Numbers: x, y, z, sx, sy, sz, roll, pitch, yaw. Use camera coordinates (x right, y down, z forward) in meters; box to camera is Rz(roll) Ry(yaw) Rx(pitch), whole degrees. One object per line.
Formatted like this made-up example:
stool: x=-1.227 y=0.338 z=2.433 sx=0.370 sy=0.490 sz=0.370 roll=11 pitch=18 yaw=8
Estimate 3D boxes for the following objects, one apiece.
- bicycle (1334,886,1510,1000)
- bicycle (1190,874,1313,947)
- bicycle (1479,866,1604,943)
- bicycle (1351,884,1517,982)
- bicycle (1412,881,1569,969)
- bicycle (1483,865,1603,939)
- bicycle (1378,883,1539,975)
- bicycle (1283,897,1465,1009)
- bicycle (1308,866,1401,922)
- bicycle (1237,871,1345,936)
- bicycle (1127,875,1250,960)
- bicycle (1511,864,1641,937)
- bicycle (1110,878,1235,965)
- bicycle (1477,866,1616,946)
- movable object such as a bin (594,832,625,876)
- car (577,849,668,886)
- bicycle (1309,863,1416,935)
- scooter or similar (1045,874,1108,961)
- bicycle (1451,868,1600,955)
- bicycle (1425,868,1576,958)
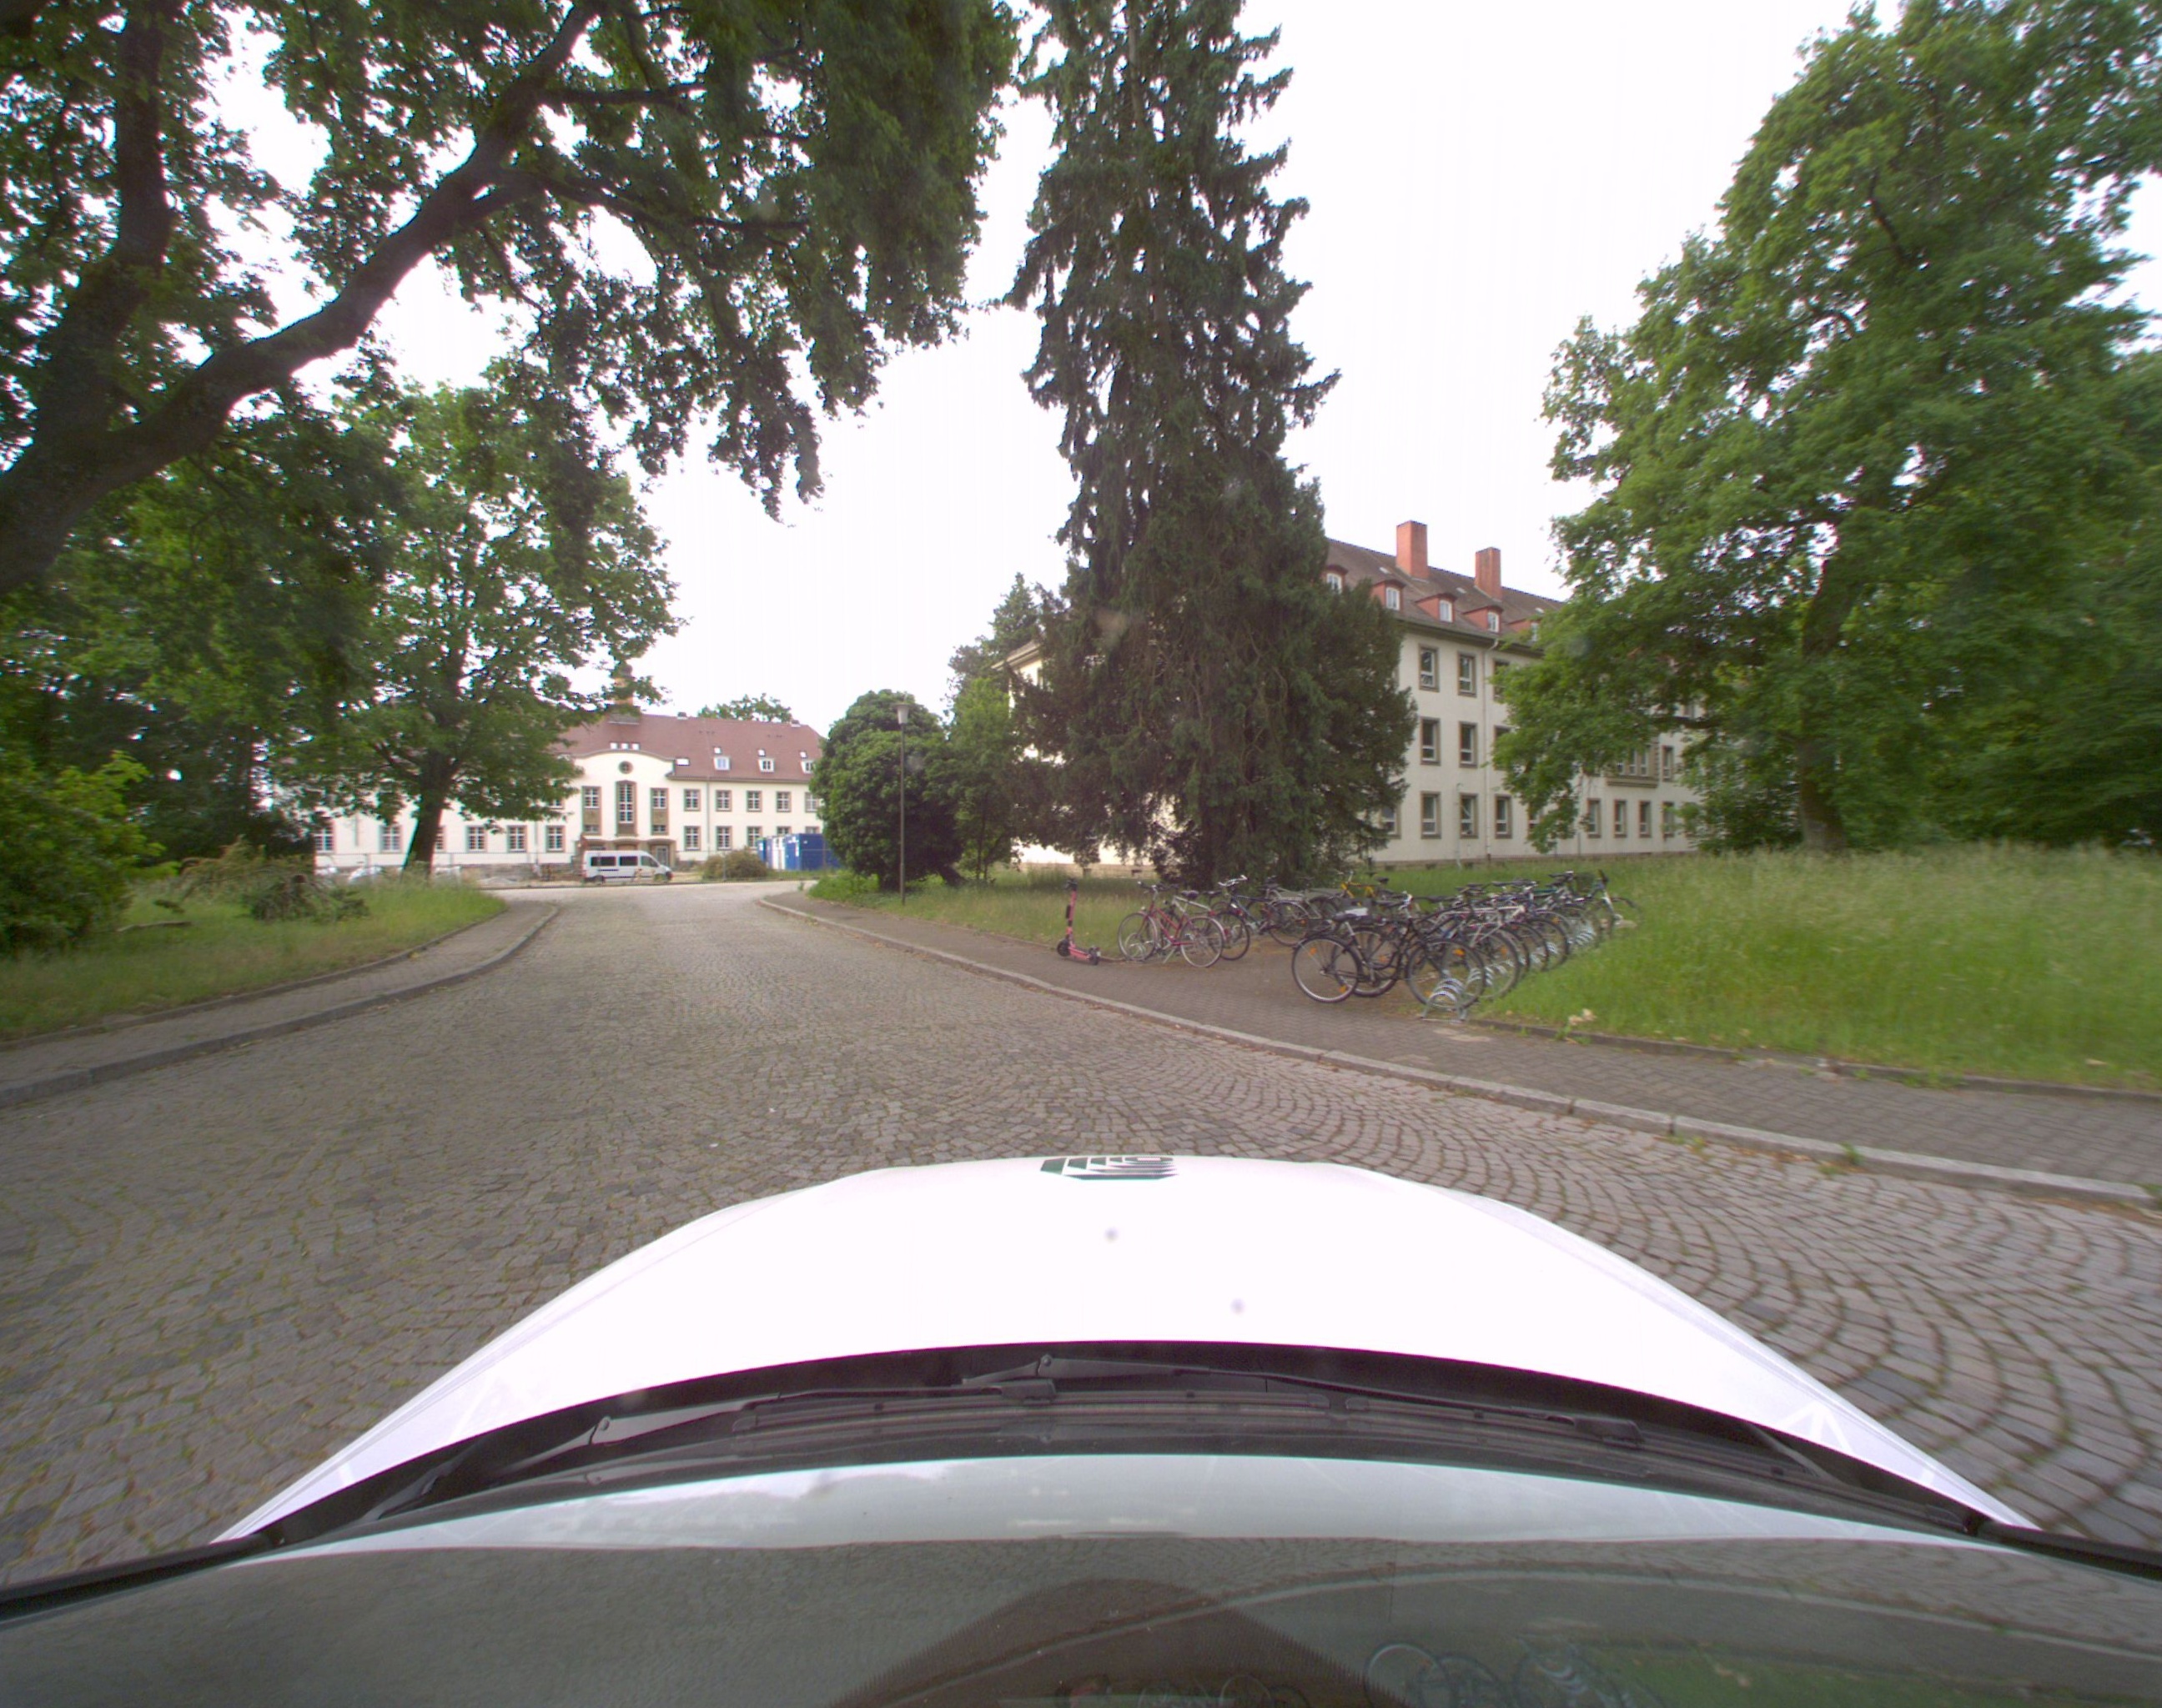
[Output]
bicycle: x=3.503 y=0.887 z=8.408 sx=1.602 sy=1.074 sz=0.480 roll=-2 pitch=-1 yaw=28
bicycle: x=2.705 y=0.867 z=13.022 sx=1.802 sy=1.065 sz=0.622 roll=-1 pitch=0 yaw=34
bicycle: x=7.144 y=0.744 z=12.688 sx=0.444 sy=1.112 sz=1.632 roll=-1 pitch=0 yaw=-41
bicycle: x=3.992 y=0.863 z=9.306 sx=1.646 sy=1.008 sz=0.480 roll=-3 pitch=-2 yaw=43
bicycle: x=5.086 y=0.852 z=10.189 sx=1.646 sy=1.008 sz=0.480 roll=-3 pitch=-2 yaw=43
bicycle: x=7.433 y=0.739 z=13.171 sx=0.444 sy=1.112 sz=1.632 roll=-1 pitch=0 yaw=-41
bicycle: x=4.463 y=0.858 z=9.717 sx=1.646 sy=1.008 sz=0.480 roll=-3 pitch=-2 yaw=43
bicycle: x=2.881 y=0.941 z=8.063 sx=1.602 sy=1.008 sz=0.480 roll=-2 pitch=-1 yaw=28
bicycle: x=5.421 y=0.769 z=16.206 sx=0.555 sy=1.042 sz=1.662 roll=-1 pitch=0 yaw=-45
bicycle: x=3.644 y=0.832 z=14.208 sx=1.731 sy=1.065 sz=0.555 roll=-1 pitch=0 yaw=34
bicycle: x=1.546 y=0.889 z=11.932 sx=1.782 sy=1.114 sz=0.555 roll=-1 pitch=0 yaw=42
bicycle: x=8.064 y=0.729 z=13.318 sx=1.743 sy=1.112 sz=0.480 roll=-1 pitch=0 yaw=43
bicycle: x=1.261 y=0.914 z=11.522 sx=1.747 sy=1.114 sz=0.555 roll=-1 pitch=0 yaw=42
bicycle: x=6.961 y=0.742 z=12.246 sx=1.743 sy=1.112 sz=0.480 roll=-1 pitch=0 yaw=43
movable object such as a bin: x=-41.401 y=0.023 z=71.451 sx=2.008 sy=3.771 sz=5.261 roll=-1 pitch=0 yaw=-34
car: x=-30.891 y=0.901 z=55.021 sx=5.295 sy=2.344 sz=1.892 roll=-1 pitch=0 yaw=-30
bicycle: x=4.891 y=0.751 z=14.233 sx=0.554 sy=1.171 sz=1.734 roll=-1 pitch=0 yaw=-39
scooter or similar: x=-0.078 y=0.920 z=12.141 sx=0.359 sy=1.209 sz=1.125 roll=-1 pitch=0 yaw=-34
bicycle: x=6.107 y=0.754 z=11.239 sx=1.742 sy=1.112 sz=0.481 roll=-1 pitch=0 yaw=38
bicycle: x=5.626 y=0.757 z=10.998 sx=1.743 sy=1.112 sz=0.480 roll=-1 pitch=0 yaw=43
